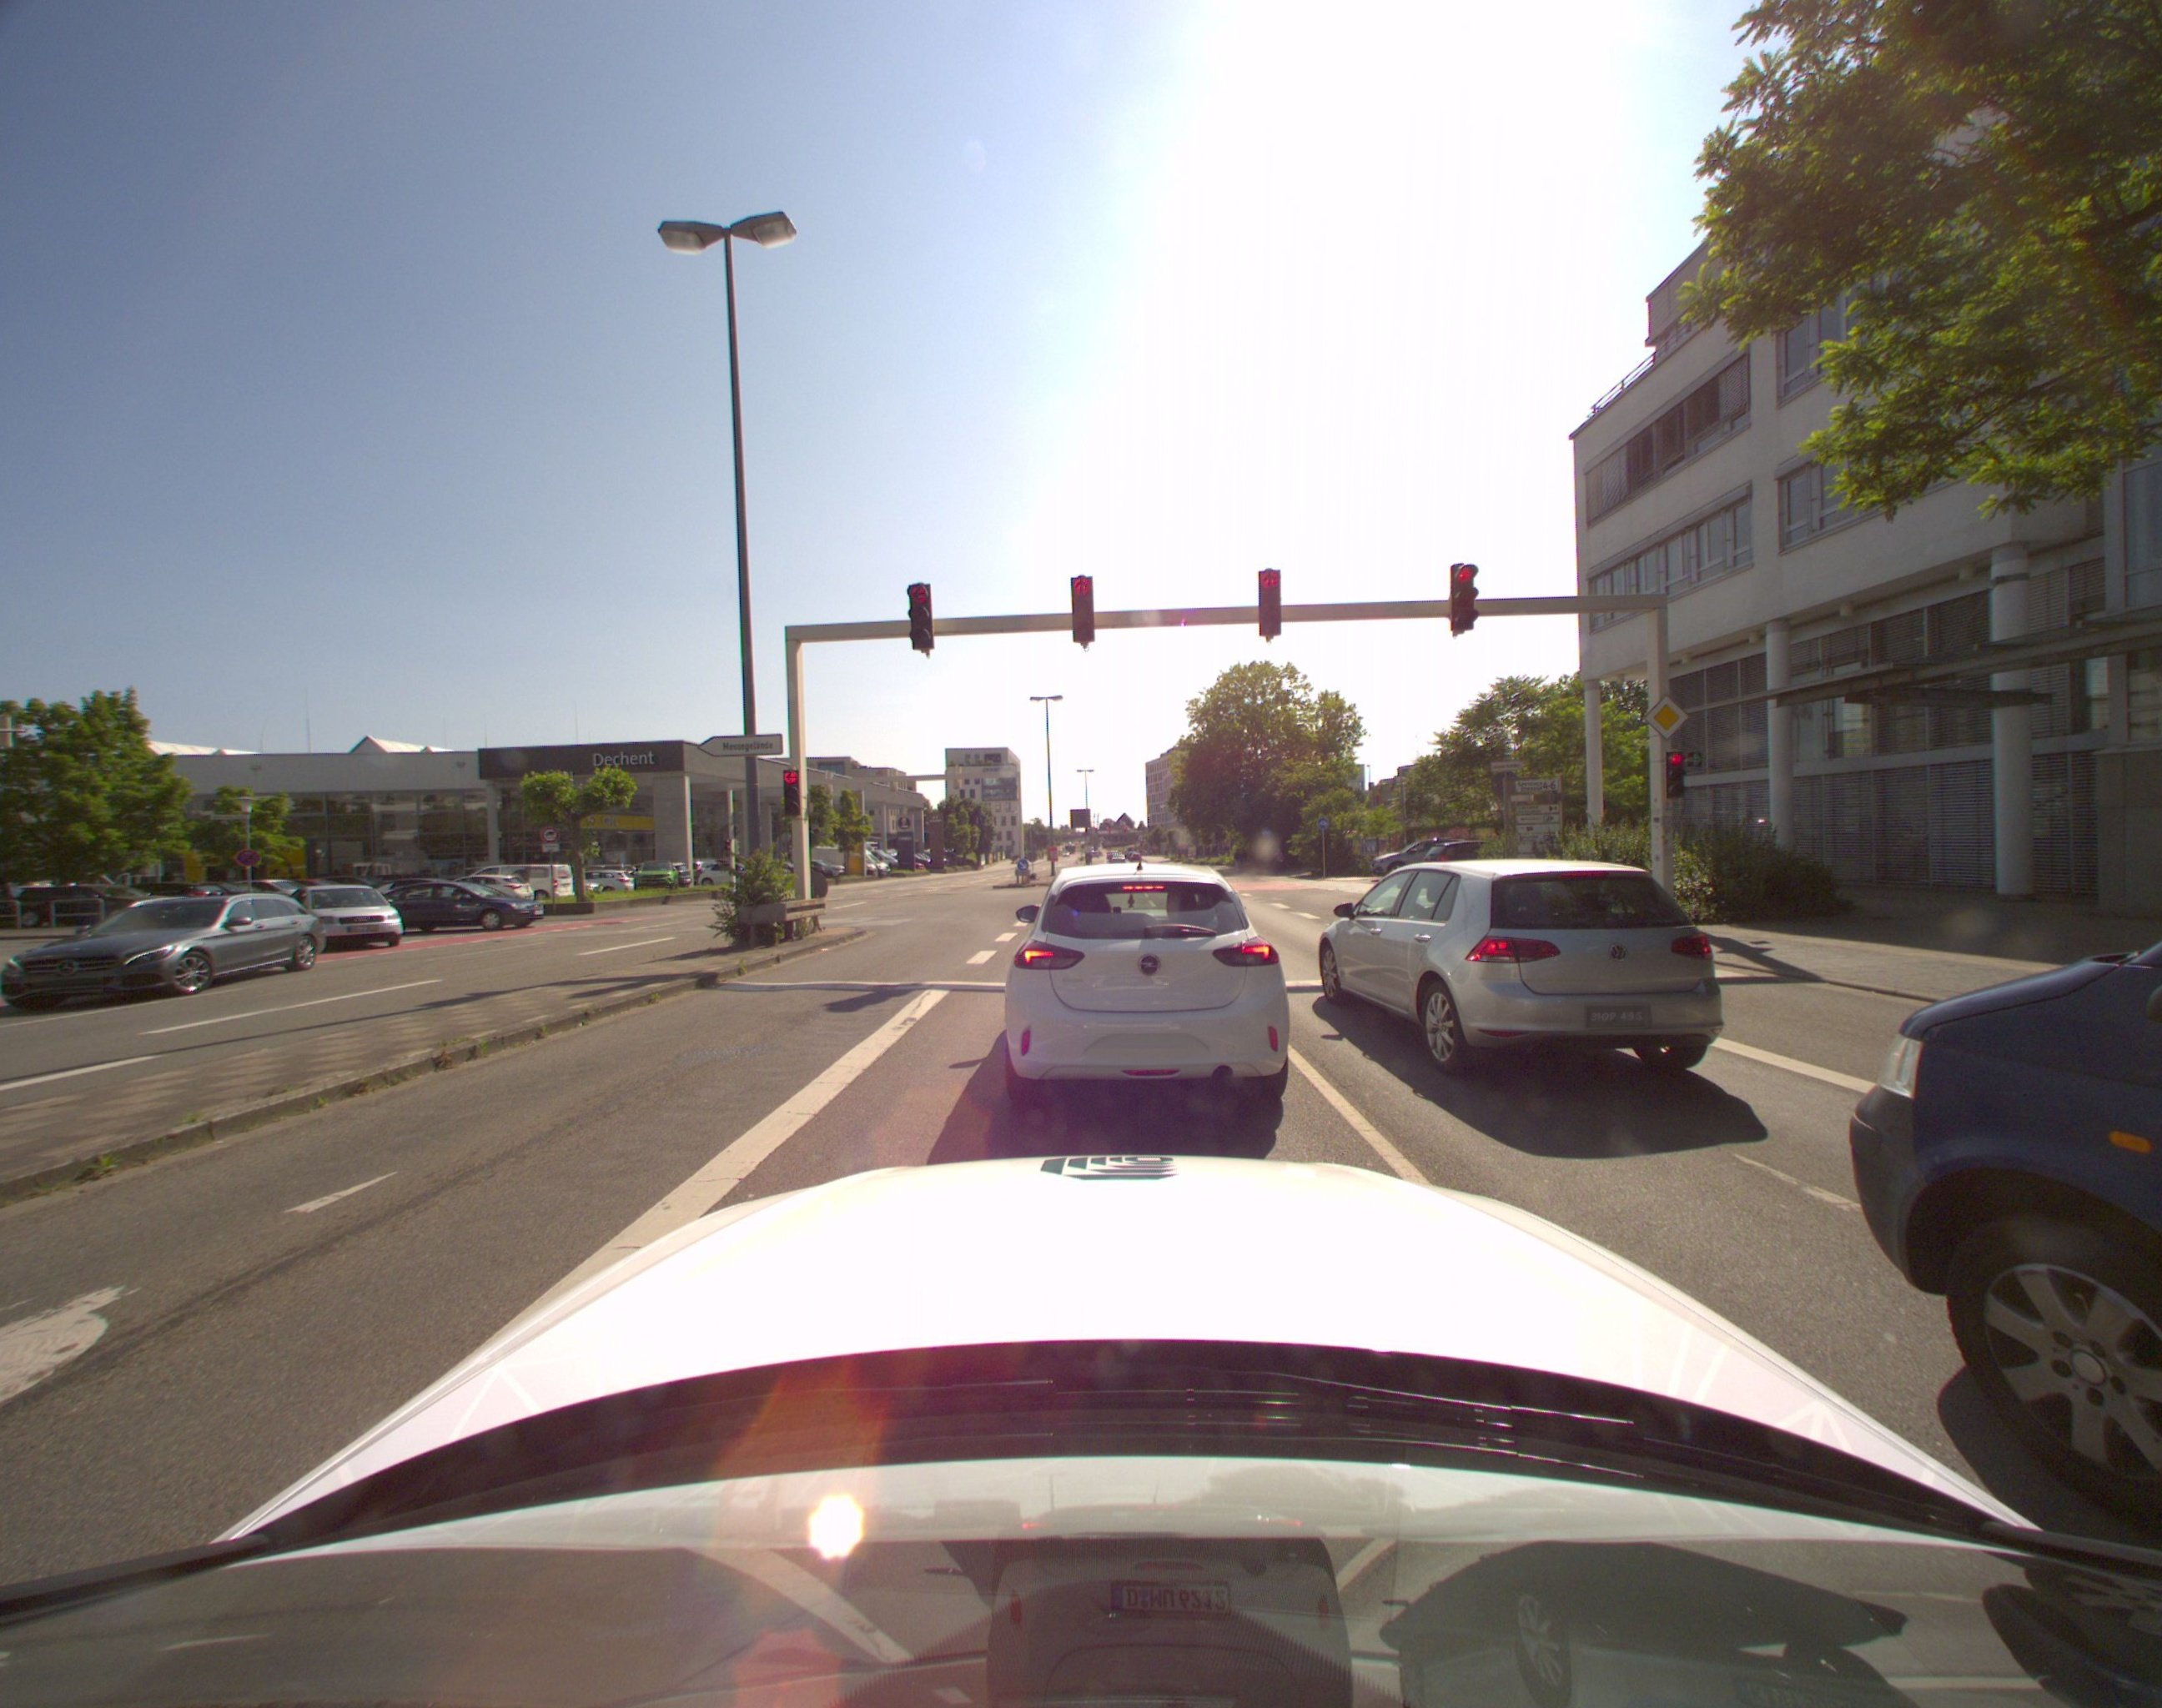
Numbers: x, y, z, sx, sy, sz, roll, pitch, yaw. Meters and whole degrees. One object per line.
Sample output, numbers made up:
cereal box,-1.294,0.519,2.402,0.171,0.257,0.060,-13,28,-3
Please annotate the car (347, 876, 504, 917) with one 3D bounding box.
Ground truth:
car,-25.539,1.634,31.860,4.348,1.300,1.997,-2,0,-4

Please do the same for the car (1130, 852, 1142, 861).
car,9.051,0.451,135.067,1.799,1.386,4.001,0,-1,2

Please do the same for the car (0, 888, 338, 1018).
car,-14.401,1.417,13.126,1.963,1.427,4.554,-3,1,-21

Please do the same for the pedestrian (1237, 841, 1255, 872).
pedestrian,11.933,0.168,58.939,1.023,2.238,1.039,-2,0,1

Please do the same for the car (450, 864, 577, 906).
car,-26.511,1.428,38.188,4.353,1.696,1.995,-2,0,-7

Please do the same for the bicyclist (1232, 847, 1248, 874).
bicyclist,10.768,0.458,55.148,0.876,1.772,0.864,-2,0,1

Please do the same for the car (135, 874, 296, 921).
car,-36.290,1.789,34.249,4.348,1.696,1.997,-2,0,-4

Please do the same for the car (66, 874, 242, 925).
car,-36.272,1.756,31.989,4.348,1.696,1.997,-2,0,-4

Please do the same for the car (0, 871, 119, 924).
car,-43.163,1.805,33.698,3.984,2.013,1.995,-2,0,-8

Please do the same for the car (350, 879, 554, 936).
car,-18.615,1.553,24.309,4.353,1.447,1.995,-1,0,-7

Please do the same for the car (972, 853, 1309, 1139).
car,0.379,0.769,6.403,1.773,1.494,4.001,-2,0,2

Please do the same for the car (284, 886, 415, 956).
car,-17.855,1.560,19.835,3.865,1.438,1.789,-2,0,39

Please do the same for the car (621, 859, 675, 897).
car,-21.253,1.206,39.956,1.915,1.733,3.258,-2,-1,-35

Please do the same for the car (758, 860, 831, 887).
car,-20.012,1.370,56.959,4.344,1.696,1.999,-2,0,-1

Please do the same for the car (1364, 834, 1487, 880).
car,14.453,0.139,34.411,4.389,1.551,2.007,-4,-1,12

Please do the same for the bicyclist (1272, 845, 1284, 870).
bicyclist,13.213,0.234,54.507,0.650,1.637,0.660,0,-1,1

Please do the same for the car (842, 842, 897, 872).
car,-19.097,0.257,73.688,4.334,2.601,2.004,-2,0,6

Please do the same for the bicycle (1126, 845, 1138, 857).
bicycle,9.708,-0.496,155.527,1.986,2.157,4.001,-2,0,1

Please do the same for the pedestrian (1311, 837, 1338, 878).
pedestrian,12.428,0.185,41.607,1.023,2.013,1.039,-2,0,1

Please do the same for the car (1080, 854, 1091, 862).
car,0.819,0.667,141.901,1.799,1.386,4.001,0,-1,2

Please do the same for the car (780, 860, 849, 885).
car,-19.655,1.351,60.157,4.344,1.696,1.999,-2,0,-1

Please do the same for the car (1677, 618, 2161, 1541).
car,3.224,0.444,0.634,1.986,1.948,4.892,-2,-1,2

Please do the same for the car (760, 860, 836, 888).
car,-18.983,1.342,54.708,4.343,1.696,1.999,-2,0,-1

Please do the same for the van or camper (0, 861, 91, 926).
van or camper,-41.948,1.556,31.340,4.711,2.400,1.995,-2,0,-8

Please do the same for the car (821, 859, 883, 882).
car,-18.506,1.326,65.902,4.334,1.696,2.004,-2,0,6

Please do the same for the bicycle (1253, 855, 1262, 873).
bicycle,11.718,0.657,54.174,0.372,1.147,1.034,0,-1,0

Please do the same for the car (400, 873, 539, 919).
car,-26.225,1.765,35.058,4.348,1.696,1.997,-2,0,-4

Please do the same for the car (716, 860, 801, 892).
car,-19.603,1.328,49.582,4.284,1.765,1.999,-2,0,-1

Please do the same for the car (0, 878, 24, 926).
car,-40.568,1.802,28.230,4.371,1.696,1.987,-2,0,-20

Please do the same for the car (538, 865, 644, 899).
car,-26.158,1.483,43.585,4.352,1.591,1.996,-2,0,-7

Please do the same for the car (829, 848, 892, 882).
car,-18.472,0.927,68.353,4.469,2.684,2.134,-2,0,10

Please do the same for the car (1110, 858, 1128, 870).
car,4.328,1.103,92.640,1.985,1.331,4.003,0,-1,3

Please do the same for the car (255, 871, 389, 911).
car,-36.620,1.762,39.414,4.352,1.696,1.995,-2,0,-7

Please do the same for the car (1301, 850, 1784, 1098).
car,3.321,0.740,6.906,1.801,1.429,3.999,-2,-1,0

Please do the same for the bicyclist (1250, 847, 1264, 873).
bicyclist,11.714,0.391,54.170,0.687,1.643,0.775,-2,0,-7

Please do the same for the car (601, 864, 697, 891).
car,-24.704,1.362,46.679,4.352,1.268,1.995,-3,-2,-7

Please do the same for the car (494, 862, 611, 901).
car,-26.141,1.351,40.448,4.353,1.696,1.995,-2,0,-7

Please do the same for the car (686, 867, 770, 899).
car,-20.238,1.647,46.845,3.981,1.599,1.996,-2,0,-6

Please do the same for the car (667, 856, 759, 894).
car,-19.259,1.082,42.778,3.859,1.837,1.999,-2,0,-1

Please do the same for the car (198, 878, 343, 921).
car,-36.720,2.047,37.008,4.348,1.696,1.997,-2,0,-4

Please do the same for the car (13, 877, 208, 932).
car,-35.004,1.798,29.486,4.348,1.696,1.997,-2,0,-4

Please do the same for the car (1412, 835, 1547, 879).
car,14.558,0.104,29.879,3.982,1.442,1.996,-2,0,-6

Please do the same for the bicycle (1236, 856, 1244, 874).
bicycle,10.777,0.718,55.125,0.371,1.216,1.154,0,0,2
